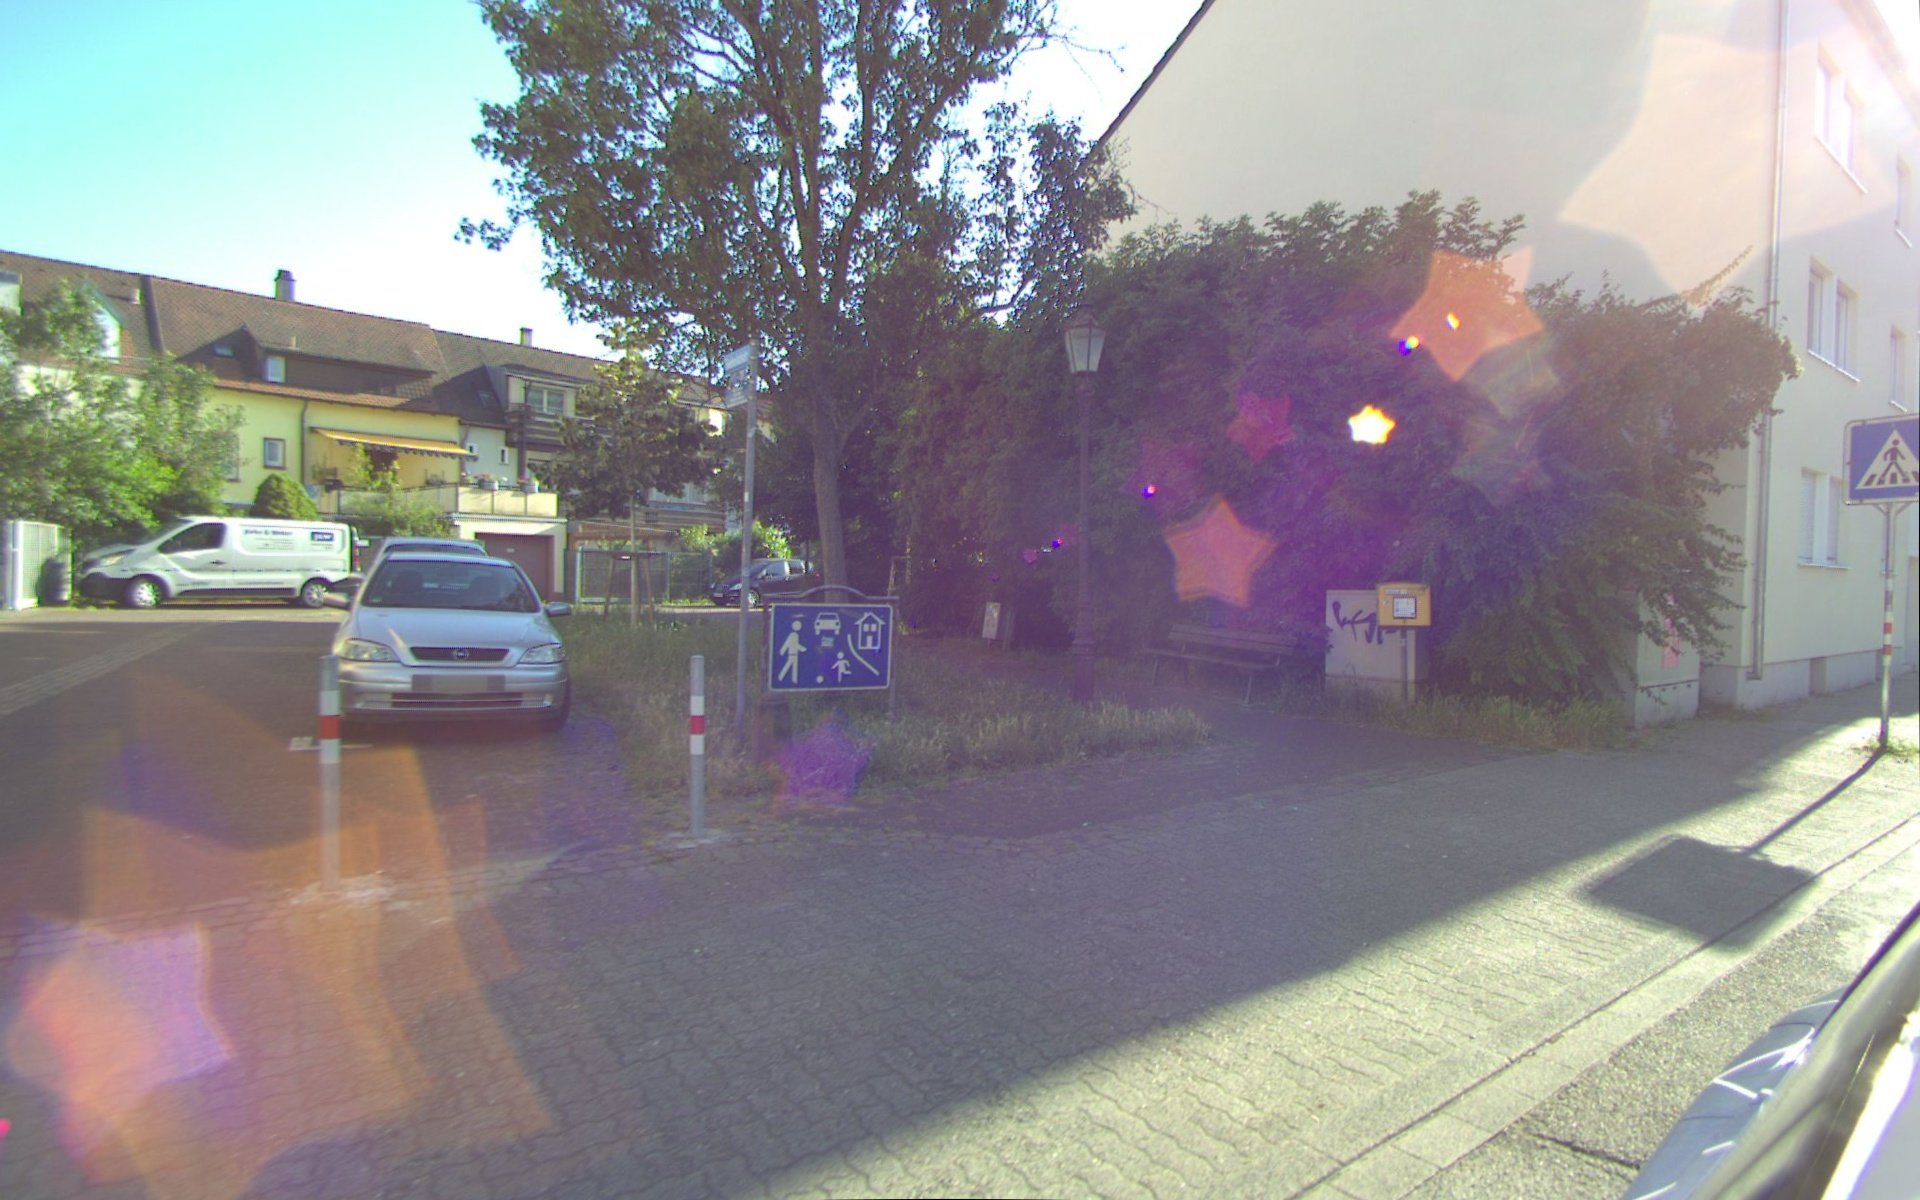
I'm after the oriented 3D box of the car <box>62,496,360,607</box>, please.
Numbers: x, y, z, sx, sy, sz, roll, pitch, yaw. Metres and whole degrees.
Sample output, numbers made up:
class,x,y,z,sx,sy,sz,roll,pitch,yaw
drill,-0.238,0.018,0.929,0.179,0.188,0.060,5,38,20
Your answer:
class,x,y,z,sx,sy,sz,roll,pitch,yaw
car,-16.185,-0.919,22.112,1.990,2.053,4.897,-2,-2,40

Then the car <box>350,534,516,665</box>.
class,x,y,z,sx,sy,sz,roll,pitch,yaw
car,-7.536,-0.081,14.276,1.679,1.576,4.036,2,2,-33

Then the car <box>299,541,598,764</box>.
class,x,y,z,sx,sy,sz,roll,pitch,yaw
car,-4.595,0.282,8.996,1.864,1.437,3.974,2,3,-30

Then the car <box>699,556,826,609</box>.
class,x,y,z,sx,sy,sz,roll,pitch,yaw
car,-6.379,-0.554,32.894,3.685,1.610,1.722,-1,-1,-41
